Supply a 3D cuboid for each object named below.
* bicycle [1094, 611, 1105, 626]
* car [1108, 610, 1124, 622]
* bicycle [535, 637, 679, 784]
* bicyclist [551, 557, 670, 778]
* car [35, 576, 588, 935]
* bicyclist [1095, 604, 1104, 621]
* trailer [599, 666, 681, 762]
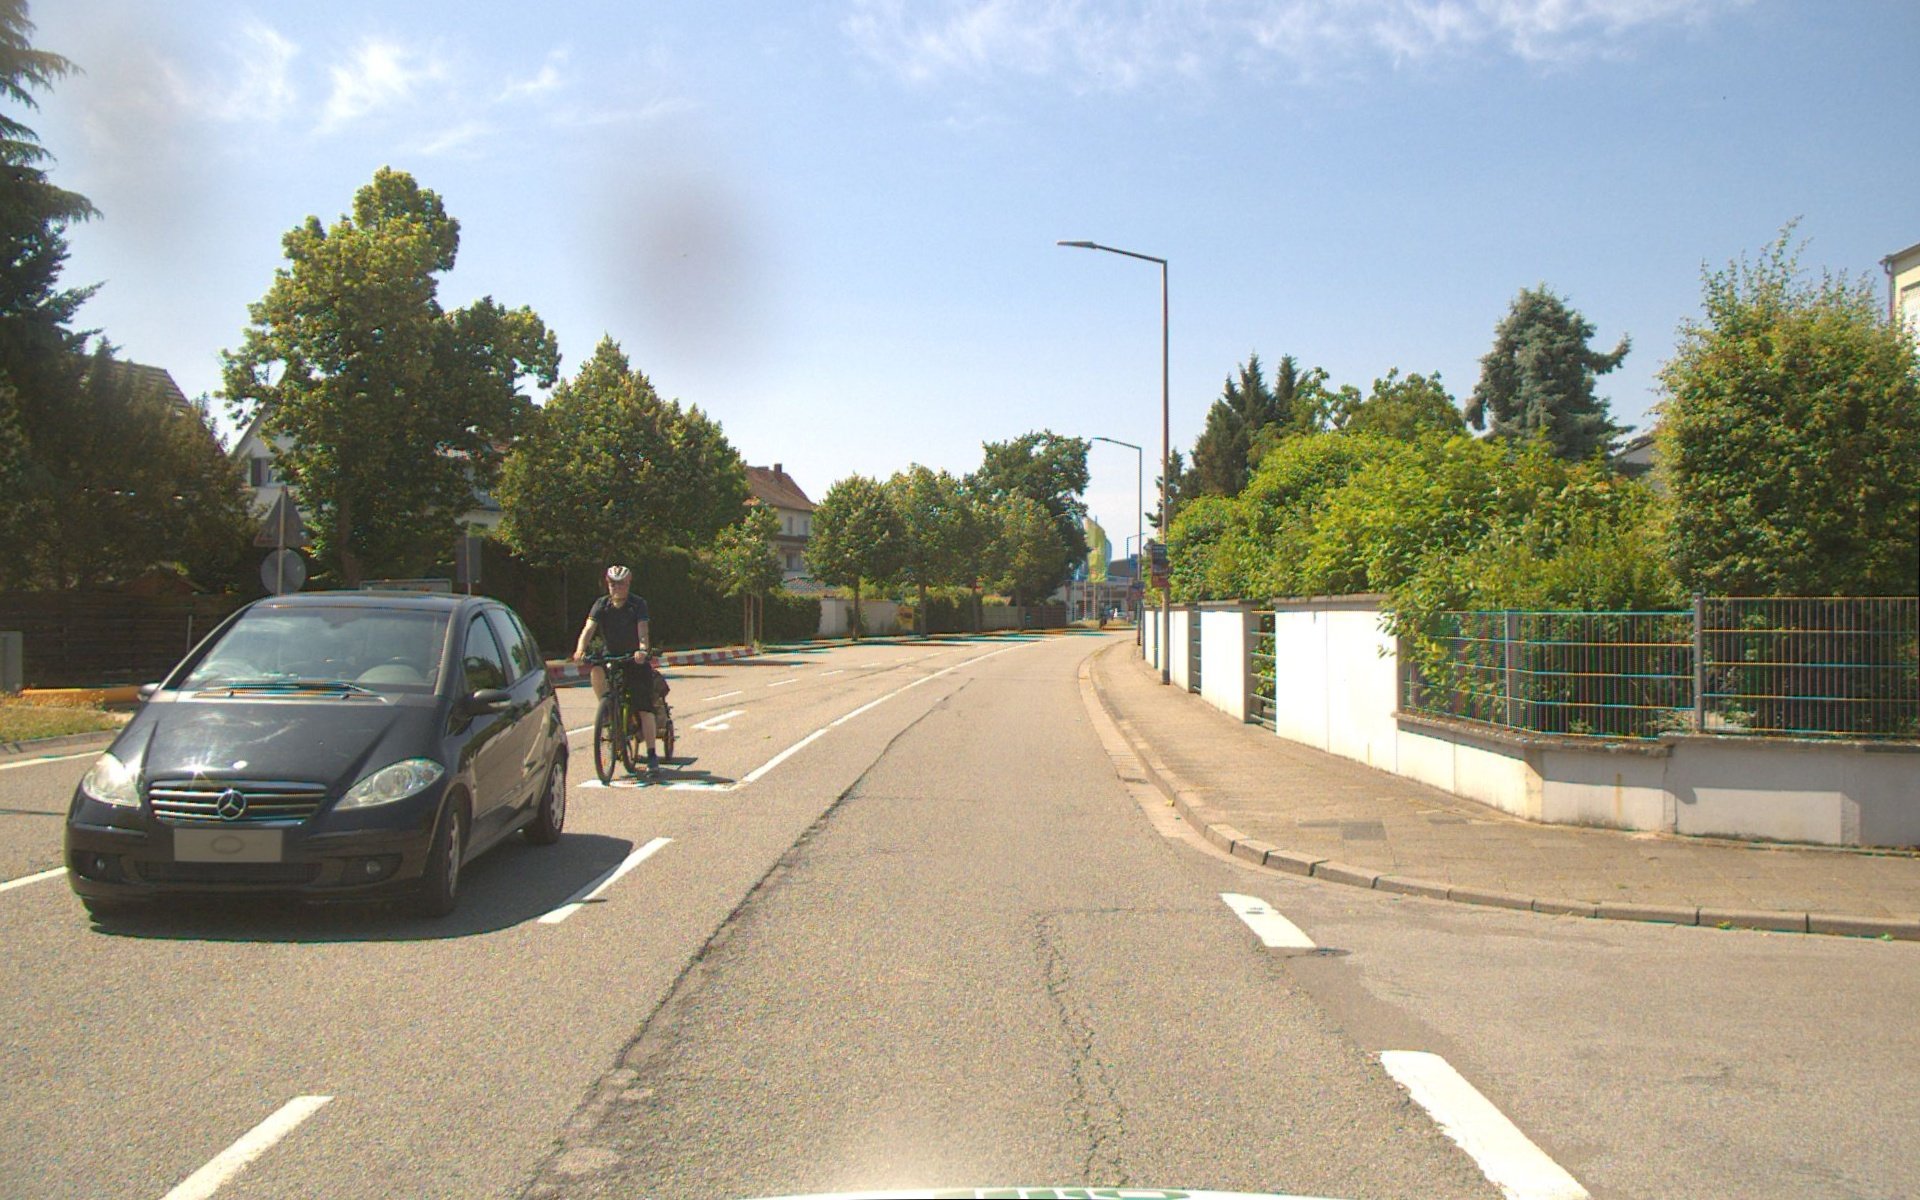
[{"bbox_3d":[11.457,1.533,135.799,0.618,1.201,1.817,-1,0,13],"label":"bicycle"},{"bbox_3d":[20.062,2.045,212.946,1.582,1.445,3.715,-2,-1,13],"label":"car"},{"bbox_3d":[-3.095,0.938,14.702,0.833,1.186,1.977,0,-1,0],"label":"bicycle"},{"bbox_3d":[-3.094,0.582,14.715,0.828,1.898,0.976,0,-1,0],"label":"bicyclist"},{"bbox_3d":[-3.301,0.706,9.254,1.691,1.559,3.828,1,0,-3],"label":"car"},{"bbox_3d":[11.449,1.032,135.754,0.615,1.433,0.677,-1,0,13],"label":"bicyclist"},{"bbox_3d":[-3.130,1.106,16.262,0.558,0.871,1.132,0,-1,1],"label":"trailer"}]
